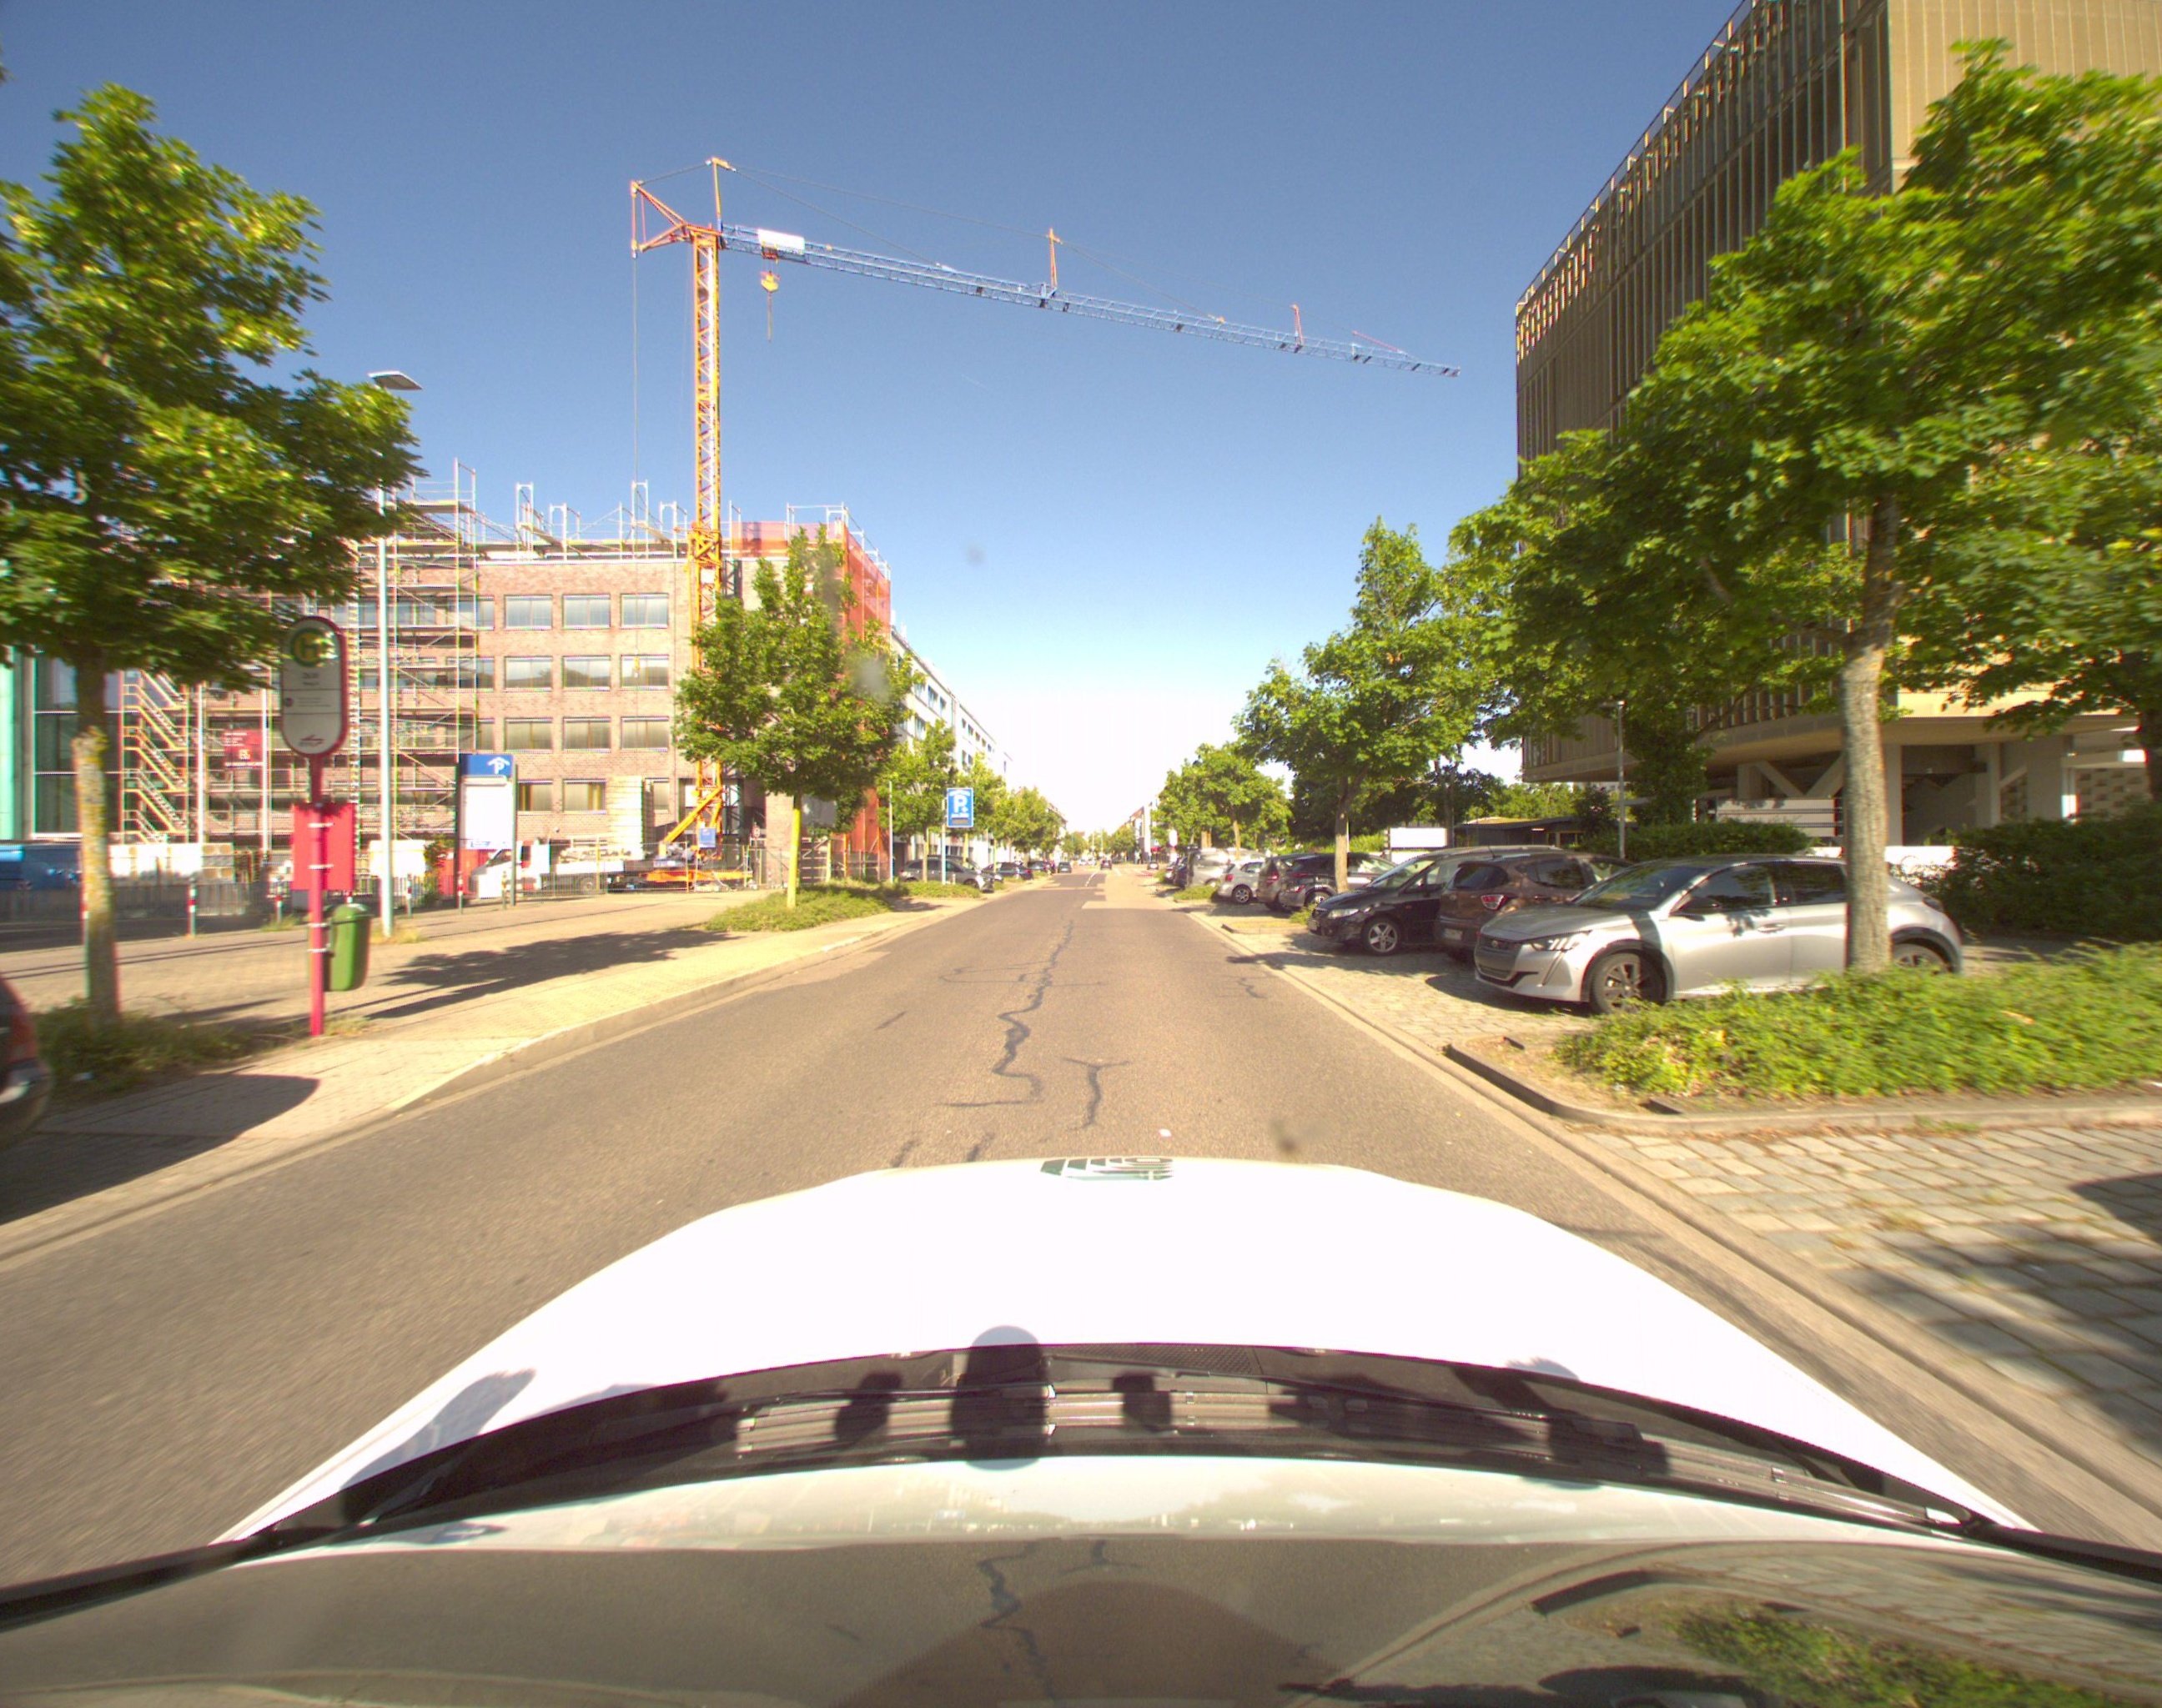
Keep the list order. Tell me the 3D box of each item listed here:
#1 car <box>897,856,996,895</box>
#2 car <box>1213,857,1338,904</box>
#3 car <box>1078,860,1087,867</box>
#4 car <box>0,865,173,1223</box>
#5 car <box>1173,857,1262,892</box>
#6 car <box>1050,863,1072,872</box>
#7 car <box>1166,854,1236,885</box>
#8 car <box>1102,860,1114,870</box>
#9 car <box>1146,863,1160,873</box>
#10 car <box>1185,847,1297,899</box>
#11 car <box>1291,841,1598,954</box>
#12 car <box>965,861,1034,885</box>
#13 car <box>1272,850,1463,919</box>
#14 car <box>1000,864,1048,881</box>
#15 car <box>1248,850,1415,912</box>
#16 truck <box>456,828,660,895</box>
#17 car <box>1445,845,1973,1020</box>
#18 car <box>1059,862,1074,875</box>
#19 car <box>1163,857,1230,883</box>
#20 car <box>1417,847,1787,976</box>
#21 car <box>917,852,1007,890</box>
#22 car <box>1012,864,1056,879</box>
[{"bbox_3d":[-6.187,0.980,37.639,4.247,1.665,1.599,-1,0,0],"label":"car"},{"bbox_3d":[6.439,0.866,27.276,3.752,1.459,1.818,-1,-1,1],"label":"car"},{"bbox_3d":[0.336,2.331,201.413,1.862,1.642,3.931,-1,0,4],"label":"car"},{"bbox_3d":[-6.644,0.791,3.113,4.119,1.492,1.868,1,1,-2],"label":"car"},{"bbox_3d":[6.137,0.933,37.005,3.894,1.474,1.798,-1,0,5],"label":"car"},{"bbox_3d":[-3.747,2.401,149.012,3.978,1.561,1.998,-1,1,-3],"label":"car"},{"bbox_3d":[6.810,0.879,46.487,3.894,1.642,1.880,-1,0,5],"label":"car"},{"bbox_3d":[4.363,1.743,131.578,1.804,1.474,4.113,-1,0,3],"label":"car"},{"bbox_3d":[12.007,2.280,135.426,1.983,1.474,4.109,-1,0,0],"label":"car"},{"bbox_3d":[6.075,0.686,31.249,3.972,1.879,1.683,-1,0,2],"label":"car"},{"bbox_3d":[5.652,0.651,13.044,4.130,1.580,1.741,-2,0,0],"label":"car"},{"bbox_3d":[-5.288,1.229,53.253,4.320,1.474,1.816,-1,0,-2],"label":"car"},{"bbox_3d":[6.822,0.716,19.717,3.972,1.538,1.862,-1,-1,2],"label":"car"},{"bbox_3d":[-5.403,1.770,77.524,4.316,1.474,1.818,-1,0,1],"label":"car"},{"bbox_3d":[6.765,0.720,22.364,3.972,1.582,2.032,-1,-1,2],"label":"car"},{"bbox_3d":[-21.140,0.295,33.106,6.829,2.547,2.282,-1,0,3],"label":"truck"},{"bbox_3d":[5.932,0.693,8.062,3.887,1.486,1.743,-1,0,0],"label":"car"},{"bbox_3d":[-1.804,1.852,104.799,1.805,1.474,4.111,-1,0,1],"label":"car"},{"bbox_3d":[6.915,0.991,48.882,3.894,1.475,1.760,-1,-2,5],"label":"car"},{"bbox_3d":[6.707,0.701,10.762,3.850,1.504,1.651,-1,0,-1],"label":"car"},{"bbox_3d":[-6.126,0.888,42.360,4.313,1.862,1.819,-1,0,3],"label":"car"},{"bbox_3d":[-4.857,1.779,84.442,4.316,1.474,1.818,-1,0,1],"label":"car"}]
